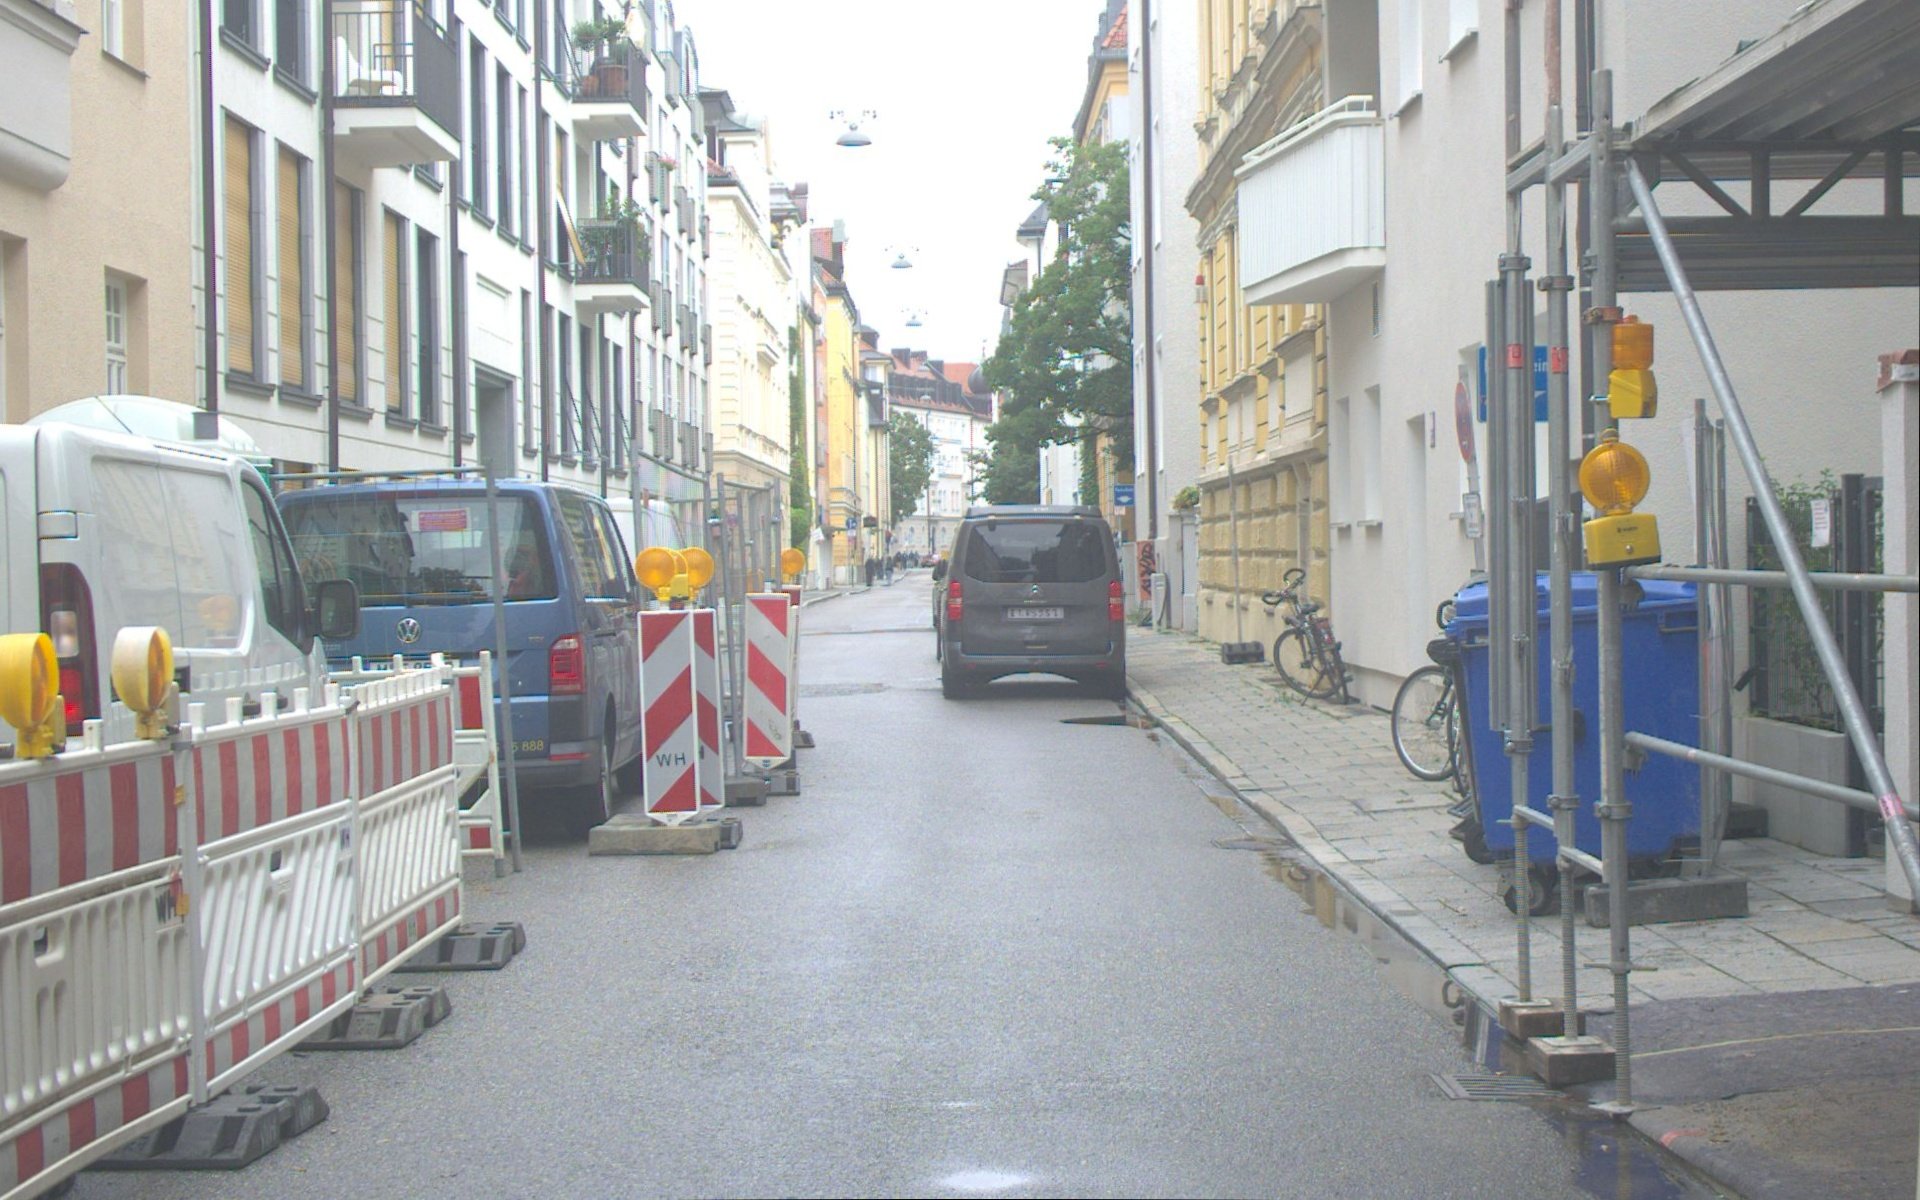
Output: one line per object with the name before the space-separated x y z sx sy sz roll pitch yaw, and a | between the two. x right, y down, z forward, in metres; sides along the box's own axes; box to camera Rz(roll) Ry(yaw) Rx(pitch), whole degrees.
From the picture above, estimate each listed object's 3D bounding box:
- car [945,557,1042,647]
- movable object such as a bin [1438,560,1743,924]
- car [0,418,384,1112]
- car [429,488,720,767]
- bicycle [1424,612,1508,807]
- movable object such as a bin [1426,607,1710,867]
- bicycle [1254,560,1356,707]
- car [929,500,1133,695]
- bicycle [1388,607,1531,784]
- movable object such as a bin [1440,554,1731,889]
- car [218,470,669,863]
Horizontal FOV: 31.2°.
car | 0.632 0.009 64.216 1.751 1.630 3.444 0 1 1
movable object such as a bin | 2.598 0.554 14.056 1.087 1.341 1.317 -4 1 13
car | -3.330 0.459 11.813 1.917 1.891 4.791 -3 1 -1
car | -2.830 0.164 26.227 1.904 1.891 5.090 -1 1 -3
bicycle | 2.840 0.595 19.230 0.281 0.988 1.433 -4 1 13
movable object such as a bin | 2.854 0.635 16.245 1.211 1.091 0.789 -5 1 8
bicycle | 2.952 0.269 29.567 0.638 1.149 1.915 -4 2 1
car | 0.682 -0.063 36.473 1.993 1.925 4.660 0 1 -1
bicycle | 2.974 0.555 20.569 0.404 0.988 1.329 -4 1 -9
movable object such as a bin | 2.755 0.516 15.293 1.126 1.341 1.171 -5 1 8
car | -2.820 0.298 19.989 1.727 1.891 5.509 -3 1 0
